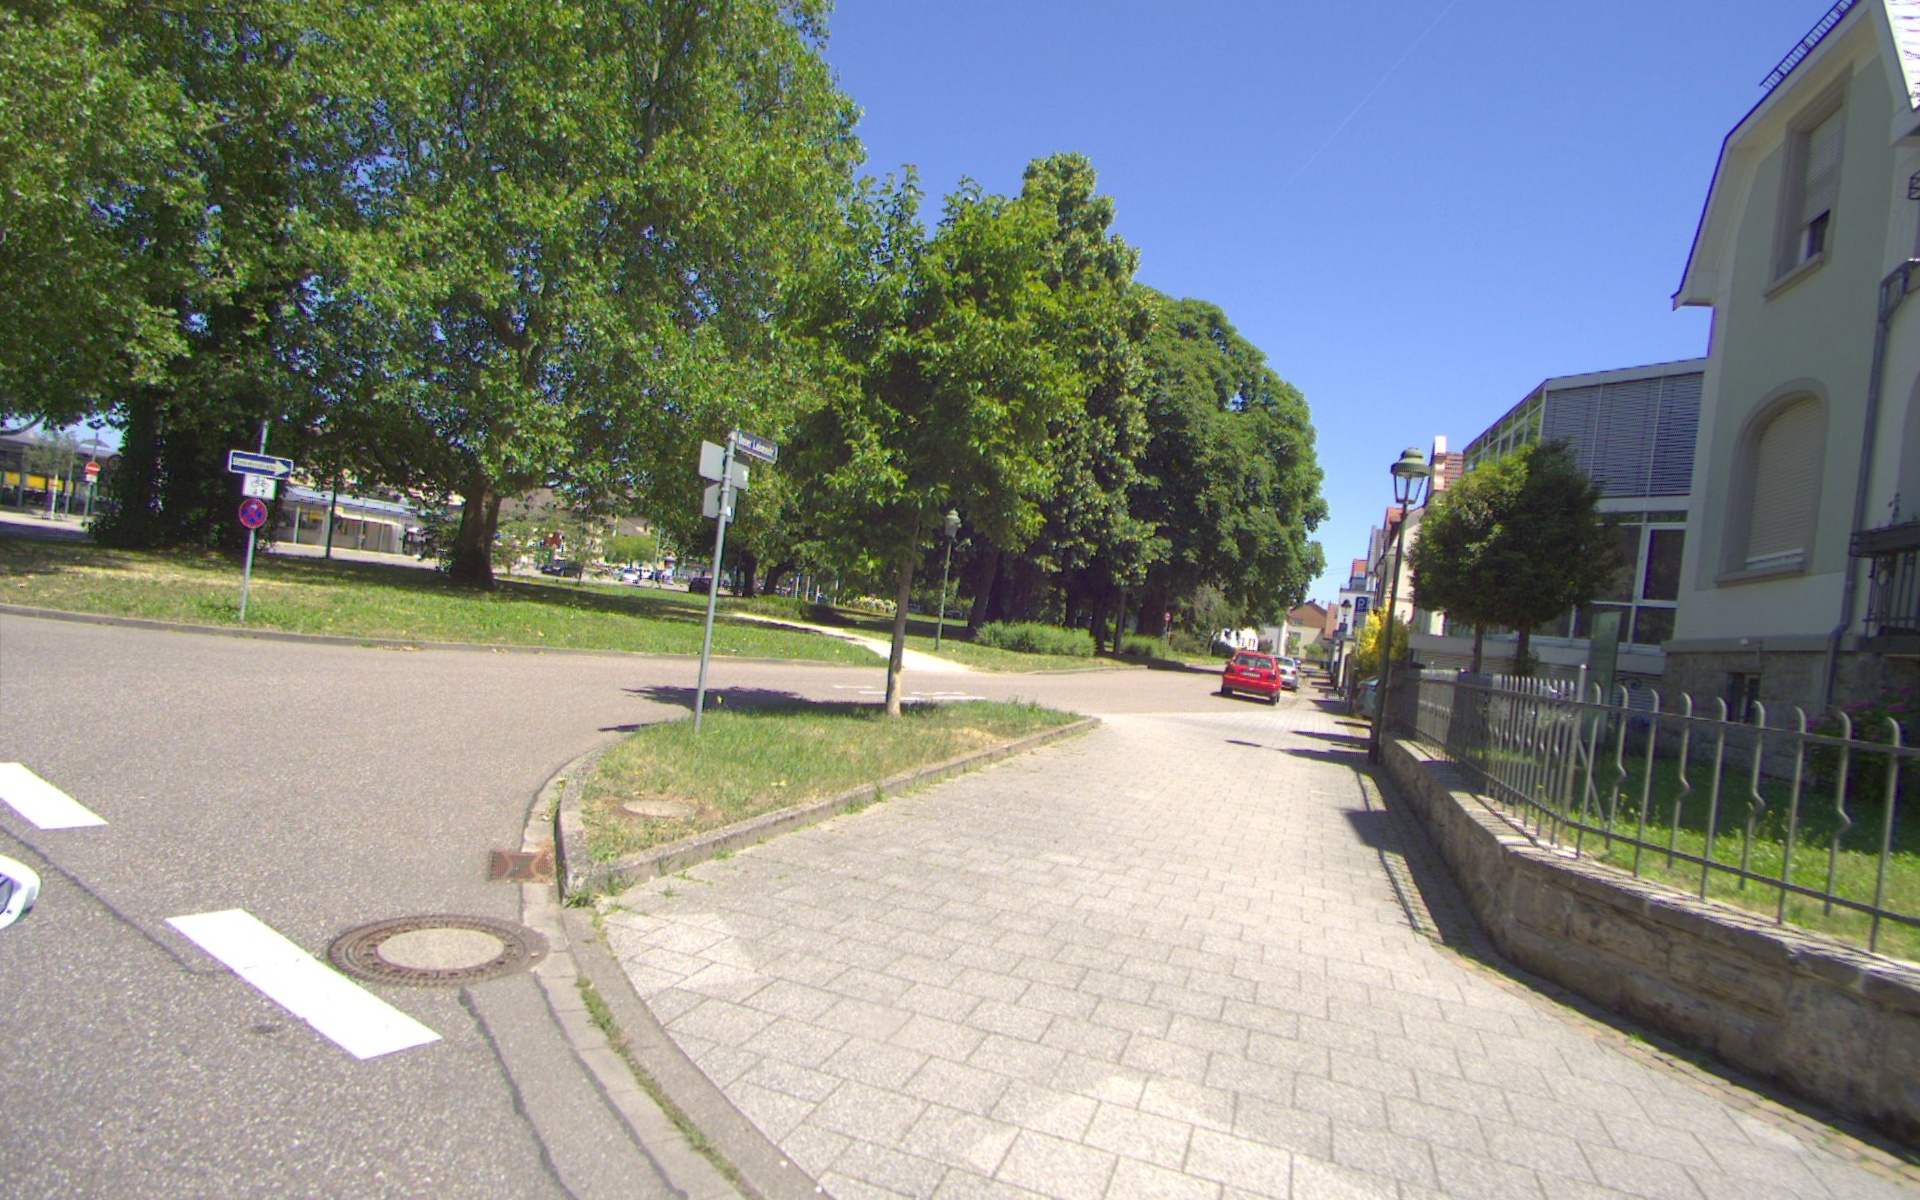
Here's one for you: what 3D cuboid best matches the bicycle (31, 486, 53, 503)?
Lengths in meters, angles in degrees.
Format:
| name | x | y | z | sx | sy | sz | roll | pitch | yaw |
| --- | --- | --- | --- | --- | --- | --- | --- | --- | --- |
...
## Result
| name | x | y | z | sx | sy | sz | roll | pitch | yaw |
| --- | --- | --- | --- | --- | --- | --- | --- | --- | --- |
| bicycle | -71.588 | -8.248 | 78.428 | 1.359 | 1.106 | 0.386 | 7 | -1 | 7 |

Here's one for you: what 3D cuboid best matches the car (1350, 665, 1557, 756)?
| name | x | y | z | sx | sy | sz | roll | pitch | yaw |
| --- | --- | --- | --- | --- | --- | --- | --- | --- | --- |
| car | 11.074 | 2.450 | 22.910 | 3.926 | 1.408 | 2.001 | 7 | -1 | 22 |

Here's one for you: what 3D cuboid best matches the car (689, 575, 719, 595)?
| name | x | y | z | sx | sy | sz | roll | pitch | yaw |
| --- | --- | --- | --- | --- | --- | --- | --- | --- | --- |
| car | -22.629 | -1.312 | 88.972 | 1.693 | 1.496 | 3.705 | 7 | -1 | -2 |

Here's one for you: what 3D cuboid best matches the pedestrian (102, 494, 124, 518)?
| name | x | y | z | sx | sy | sz | roll | pitch | yaw |
| --- | --- | --- | --- | --- | --- | --- | --- | --- | --- |
| pedestrian | -62.920 | -6.982 | 74.720 | 0.809 | 1.636 | 0.767 | 7 | -1 | -13 |

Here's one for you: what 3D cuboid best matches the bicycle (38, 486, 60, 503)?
| name | x | y | z | sx | sy | sz | roll | pitch | yaw |
| --- | --- | --- | --- | --- | --- | --- | --- | --- | --- |
| bicycle | -70.087 | -8.093 | 77.389 | 1.359 | 1.106 | 0.387 | 7 | -1 | 8 |

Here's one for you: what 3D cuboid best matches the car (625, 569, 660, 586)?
| name | x | y | z | sx | sy | sz | roll | pitch | yaw |
| --- | --- | --- | --- | --- | --- | --- | --- | --- | --- |
| car | -32.618 | -2.334 | 103.352 | 1.786 | 1.462 | 4.159 | 4 | 0 | 6 |

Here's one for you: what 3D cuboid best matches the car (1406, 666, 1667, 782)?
| name | x | y | z | sx | sy | sz | roll | pitch | yaw |
| --- | --- | --- | --- | --- | --- | --- | --- | --- | --- |
| car | 11.305 | 2.389 | 20.041 | 3.923 | 1.587 | 2.001 | 7 | 0 | 10 |

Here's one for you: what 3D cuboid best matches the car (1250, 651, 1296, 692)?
| name | x | y | z | sx | sy | sz | roll | pitch | yaw |
| --- | --- | --- | --- | --- | --- | --- | --- | --- | --- |
| car | 14.020 | 3.164 | 45.057 | 1.721 | 1.525 | 4.001 | 7 | -1 | 18 |

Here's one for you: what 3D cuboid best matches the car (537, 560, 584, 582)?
| name | x | y | z | sx | sy | sz | roll | pitch | yaw |
| --- | --- | --- | --- | --- | --- | --- | --- | --- | --- |
| car | -34.691 | -2.517 | 87.556 | 1.691 | 1.496 | 4.788 | 7 | -1 | 5 |

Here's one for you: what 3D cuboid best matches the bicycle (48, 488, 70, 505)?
| name | x | y | z | sx | sy | sz | roll | pitch | yaw |
| --- | --- | --- | --- | --- | --- | --- | --- | --- | --- |
| bicycle | -70.077 | -8.054 | 78.271 | 1.359 | 1.106 | 0.386 | 7 | -1 | 7 |

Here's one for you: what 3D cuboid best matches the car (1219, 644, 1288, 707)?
| name | x | y | z | sx | sy | sz | roll | pitch | yaw |
| --- | --- | --- | --- | --- | --- | --- | --- | --- | --- |
| car | 8.948 | 2.247 | 30.839 | 1.721 | 1.543 | 4.001 | 8 | 0 | 15 |

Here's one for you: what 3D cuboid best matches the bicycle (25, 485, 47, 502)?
| name | x | y | z | sx | sy | sz | roll | pitch | yaw |
| --- | --- | --- | --- | --- | --- | --- | --- | --- | --- |
| bicycle | -71.602 | -8.271 | 77.946 | 1.359 | 1.106 | 0.386 | 7 | -1 | 7 |
